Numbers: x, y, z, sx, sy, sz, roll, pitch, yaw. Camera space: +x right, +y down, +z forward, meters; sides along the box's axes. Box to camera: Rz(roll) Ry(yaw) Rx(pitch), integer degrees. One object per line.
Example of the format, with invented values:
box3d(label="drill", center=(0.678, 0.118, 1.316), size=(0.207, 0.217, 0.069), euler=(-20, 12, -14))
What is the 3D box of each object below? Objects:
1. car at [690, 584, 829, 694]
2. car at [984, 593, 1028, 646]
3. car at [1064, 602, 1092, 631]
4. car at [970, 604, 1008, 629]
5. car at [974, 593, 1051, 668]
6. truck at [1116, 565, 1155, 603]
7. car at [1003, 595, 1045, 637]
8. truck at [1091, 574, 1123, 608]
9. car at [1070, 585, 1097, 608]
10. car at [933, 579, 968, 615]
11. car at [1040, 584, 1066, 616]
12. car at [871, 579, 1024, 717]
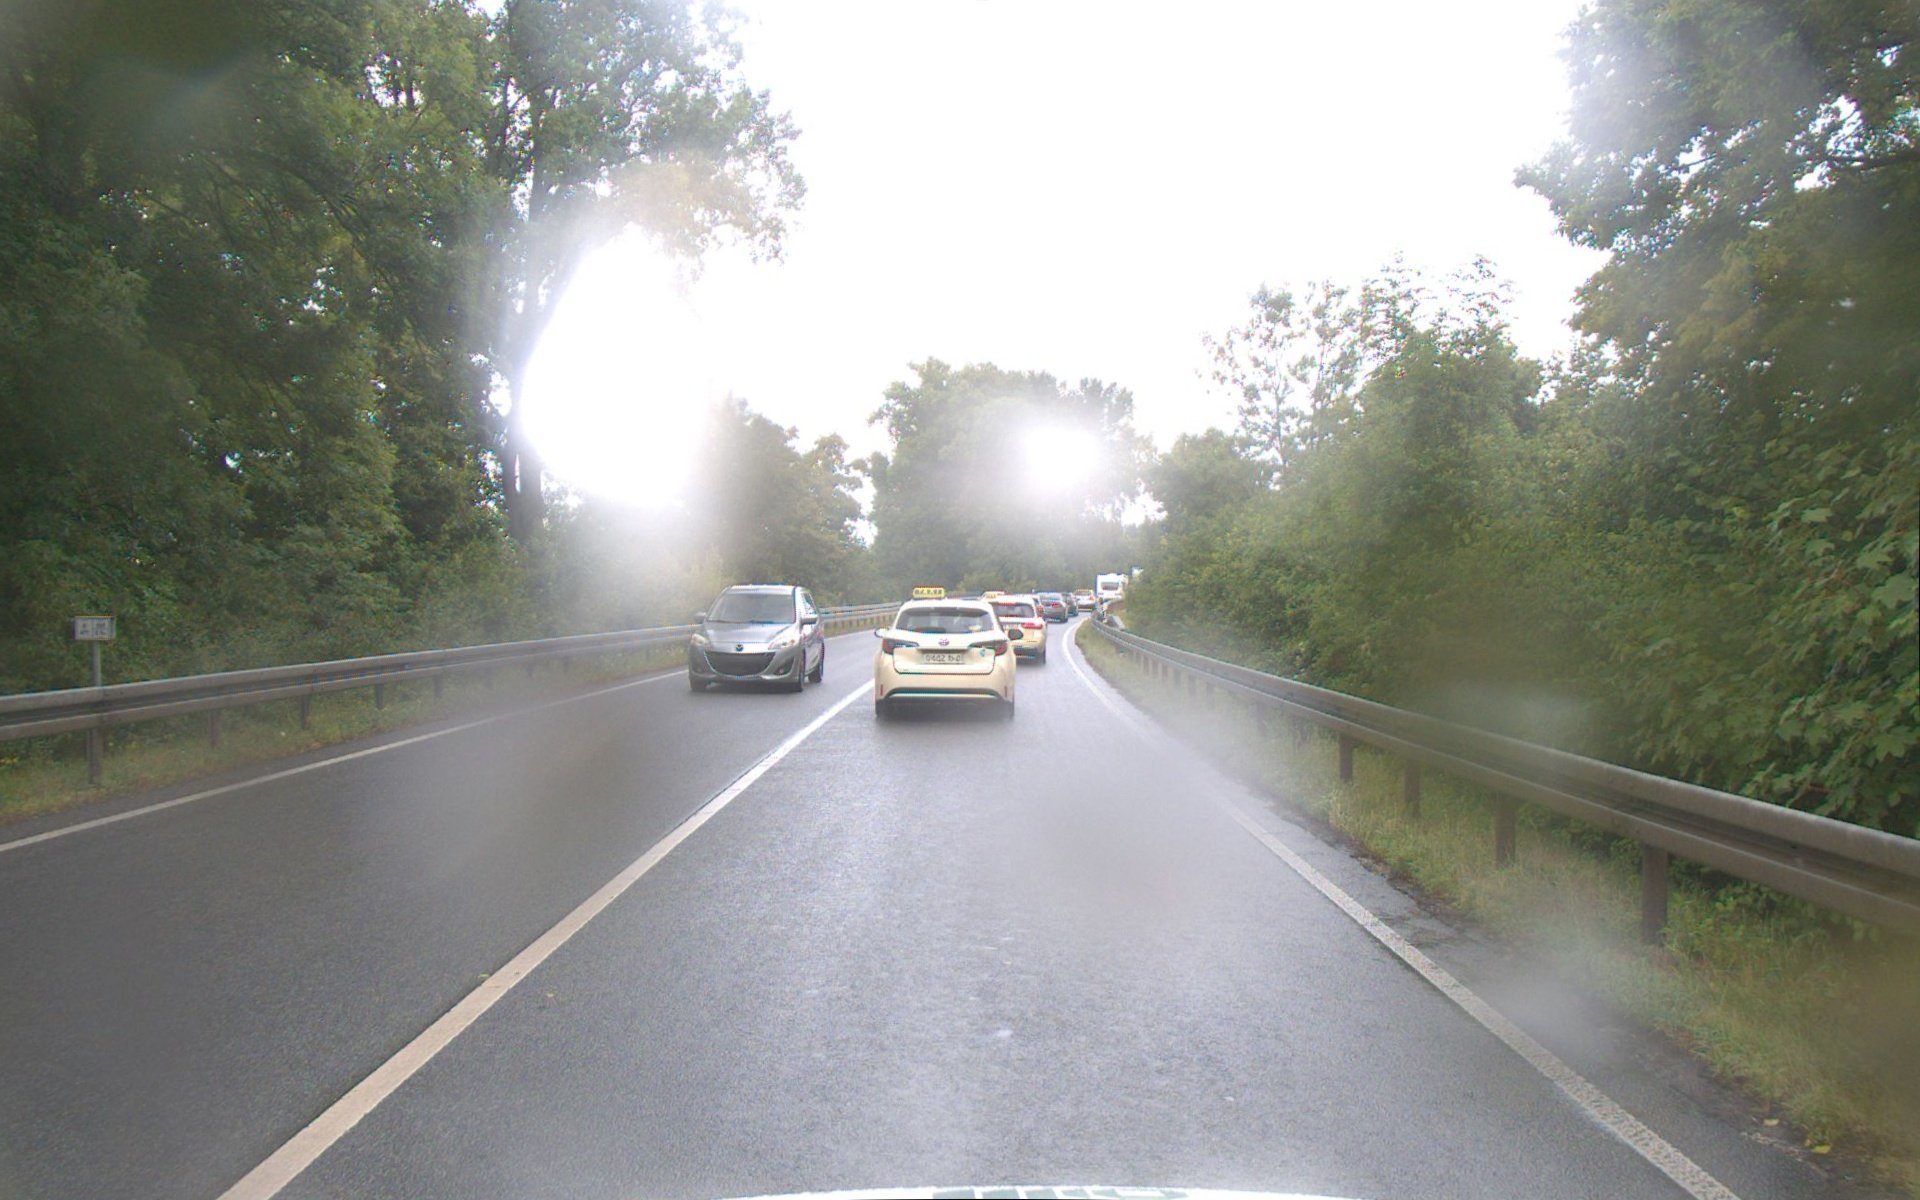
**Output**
box3d(label="car", center=(-3.139, 0.561, 26.667), size=(1.658, 1.601, 4.374), euler=(1, 0, 0))
box3d(label="car", center=(1.421, 0.614, 51.532), size=(1.274, 1.574, 3.260), euler=(1, -1, 0))
box3d(label="car", center=(6.924, 0.992, 96.992), size=(1.582, 1.641, 3.623), euler=(1, -1, 5))
box3d(label="car", center=(1.708, 0.970, 95.924), size=(1.774, 1.378, 4.003), euler=(0, -1, 7))
box3d(label="car", center=(1.259, 0.689, 38.100), size=(1.632, 1.608, 3.893), euler=(1, -1, 4))
box3d(label="truck", center=(18.268, -1.614, 172.079), size=(3.041, 3.745, 7.005), euler=(0, -1, 14))
box3d(label="car", center=(2.455, 0.644, 63.934), size=(1.578, 1.574, 3.814), euler=(0, -2, 2))
box3d(label="truck", center=(12.809, -0.743, 144.833), size=(2.496, 2.760, 7.537), euler=(1, -1, 3))
box3d(label="car", center=(8.727, -0.233, 116.721), size=(1.732, 1.574, 3.816), euler=(0, -1, 7))
box3d(label="car", center=(-0.536, -0.174, 98.080), size=(1.952, 2.049, 4.000), euler=(1, -1, 1))
box3d(label="car", center=(4.674, 0.018, 83.113), size=(1.142, 1.574, 2.606), euler=(0, -1, 6))
box3d(label="car", center=(-0.086, 0.593, 21.597), size=(1.796, 1.608, 4.157), euler=(1, -1, 2))
